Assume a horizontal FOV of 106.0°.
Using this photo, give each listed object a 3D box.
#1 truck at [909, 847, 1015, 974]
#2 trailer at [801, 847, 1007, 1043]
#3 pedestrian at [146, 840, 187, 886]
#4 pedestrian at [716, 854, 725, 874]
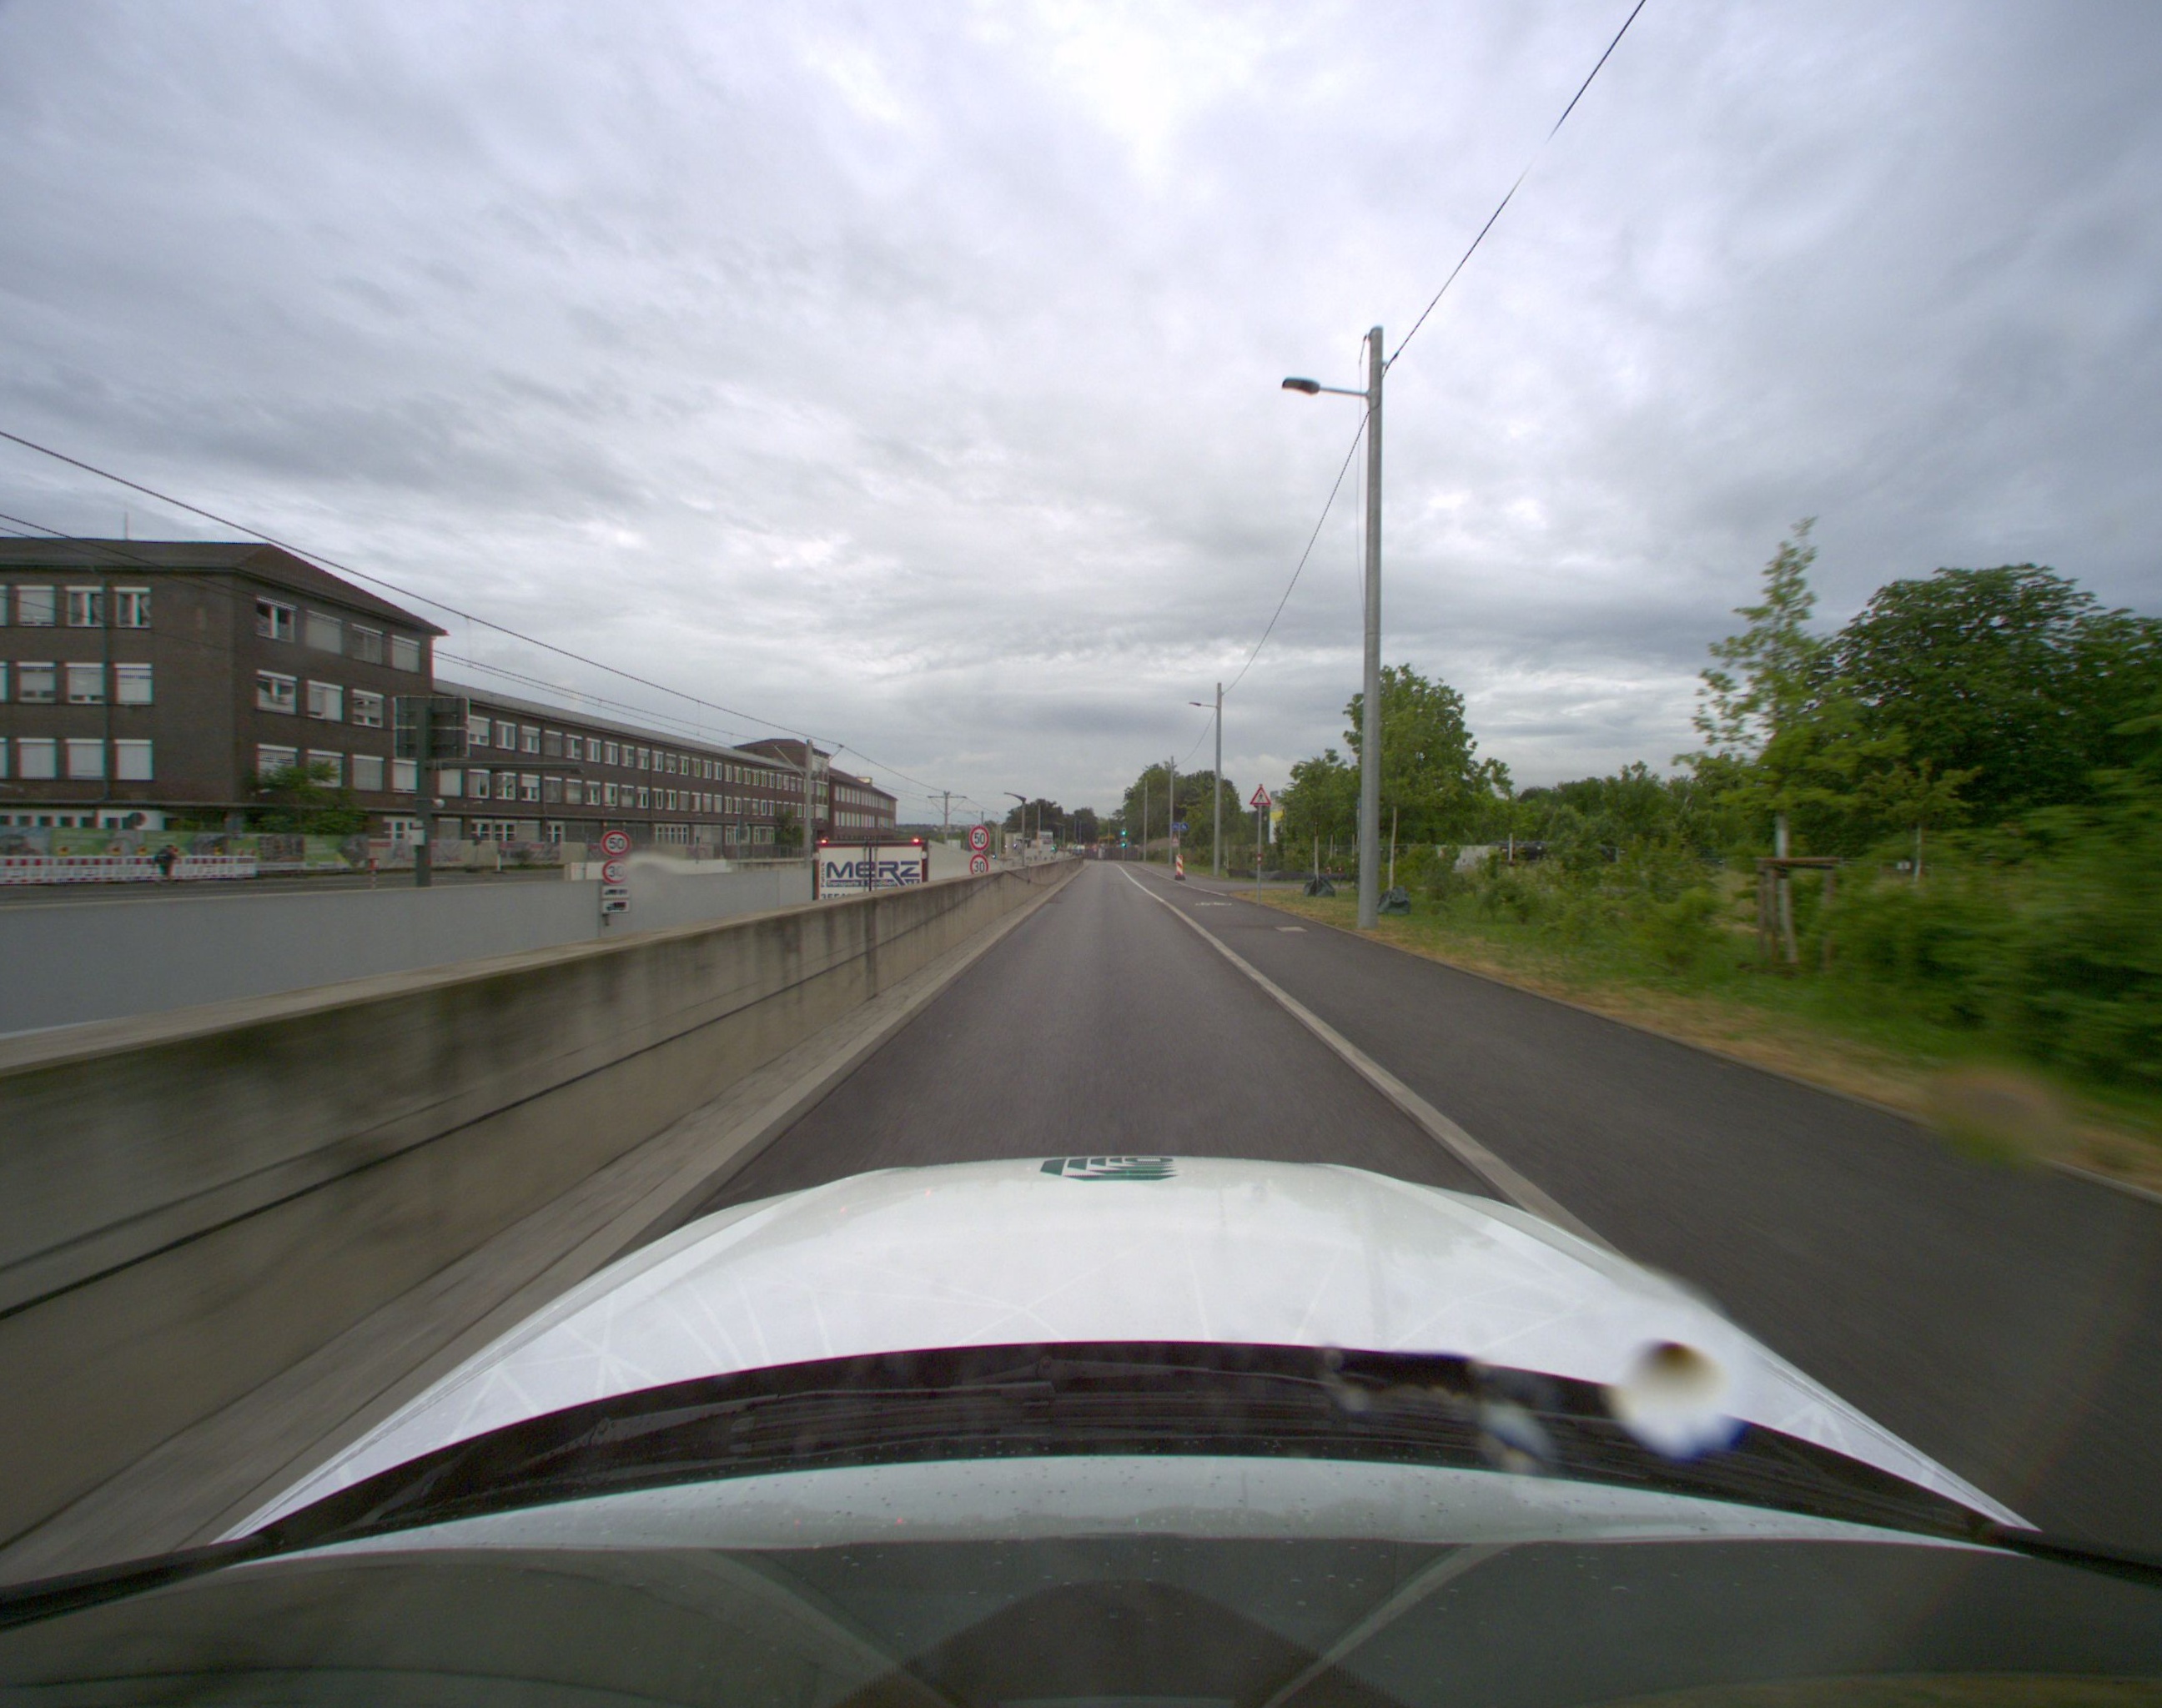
[{"bbox_3d":[-4.252,1.894,30.450,2.745,4.205,6.309,-1,0,2],"label":"truck"},{"bbox_3d":[-4.477,1.976,24.465,2.752,4.252,13.190,-1,0,2],"label":"trailer"},{"bbox_3d":[-35.467,0.336,31.583,0.613,1.750,0.840,0,0,2],"label":"pedestrian"},{"bbox_3d":[-37.286,1.045,84.220,0.669,2.014,0.652,0,-1,-1],"label":"pedestrian"}]
